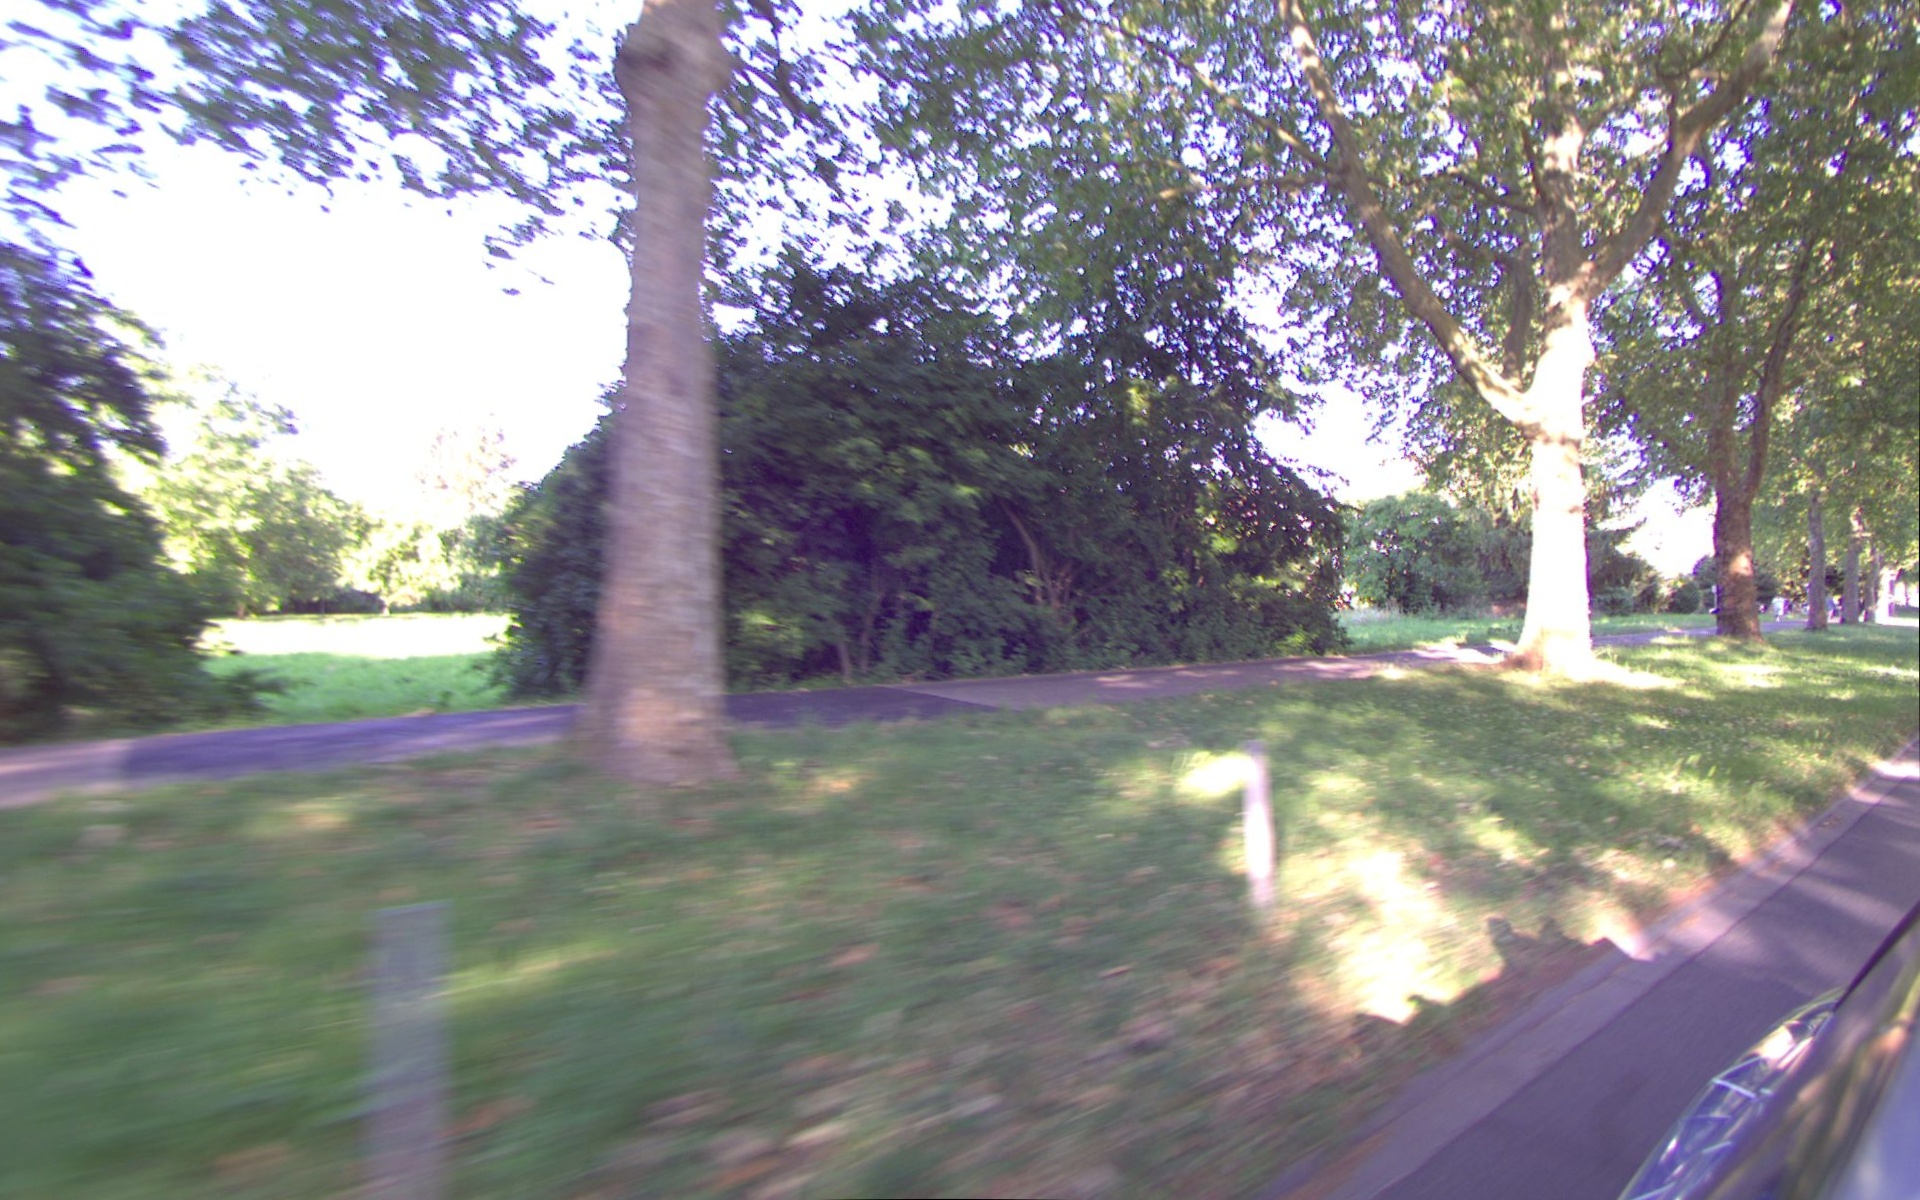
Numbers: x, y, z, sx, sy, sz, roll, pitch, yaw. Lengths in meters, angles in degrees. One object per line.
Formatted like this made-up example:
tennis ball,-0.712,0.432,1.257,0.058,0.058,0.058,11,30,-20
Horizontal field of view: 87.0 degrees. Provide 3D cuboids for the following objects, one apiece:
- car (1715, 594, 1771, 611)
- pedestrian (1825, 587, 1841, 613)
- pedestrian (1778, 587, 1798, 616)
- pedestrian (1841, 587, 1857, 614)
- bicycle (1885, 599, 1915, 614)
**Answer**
car,72.260,0.239,93.381,4.050,1.482,1.707,2,1,40
pedestrian,61.478,-0.006,71.300,0.788,1.871,0.755,1,0,-42
pedestrian,49.004,0.069,59.888,0.780,1.670,0.924,2,1,44
pedestrian,62.112,0.006,70.681,0.774,1.869,0.762,1,0,-42
bicycle,72.719,0.504,78.288,0.437,1.048,1.723,3,0,-11
